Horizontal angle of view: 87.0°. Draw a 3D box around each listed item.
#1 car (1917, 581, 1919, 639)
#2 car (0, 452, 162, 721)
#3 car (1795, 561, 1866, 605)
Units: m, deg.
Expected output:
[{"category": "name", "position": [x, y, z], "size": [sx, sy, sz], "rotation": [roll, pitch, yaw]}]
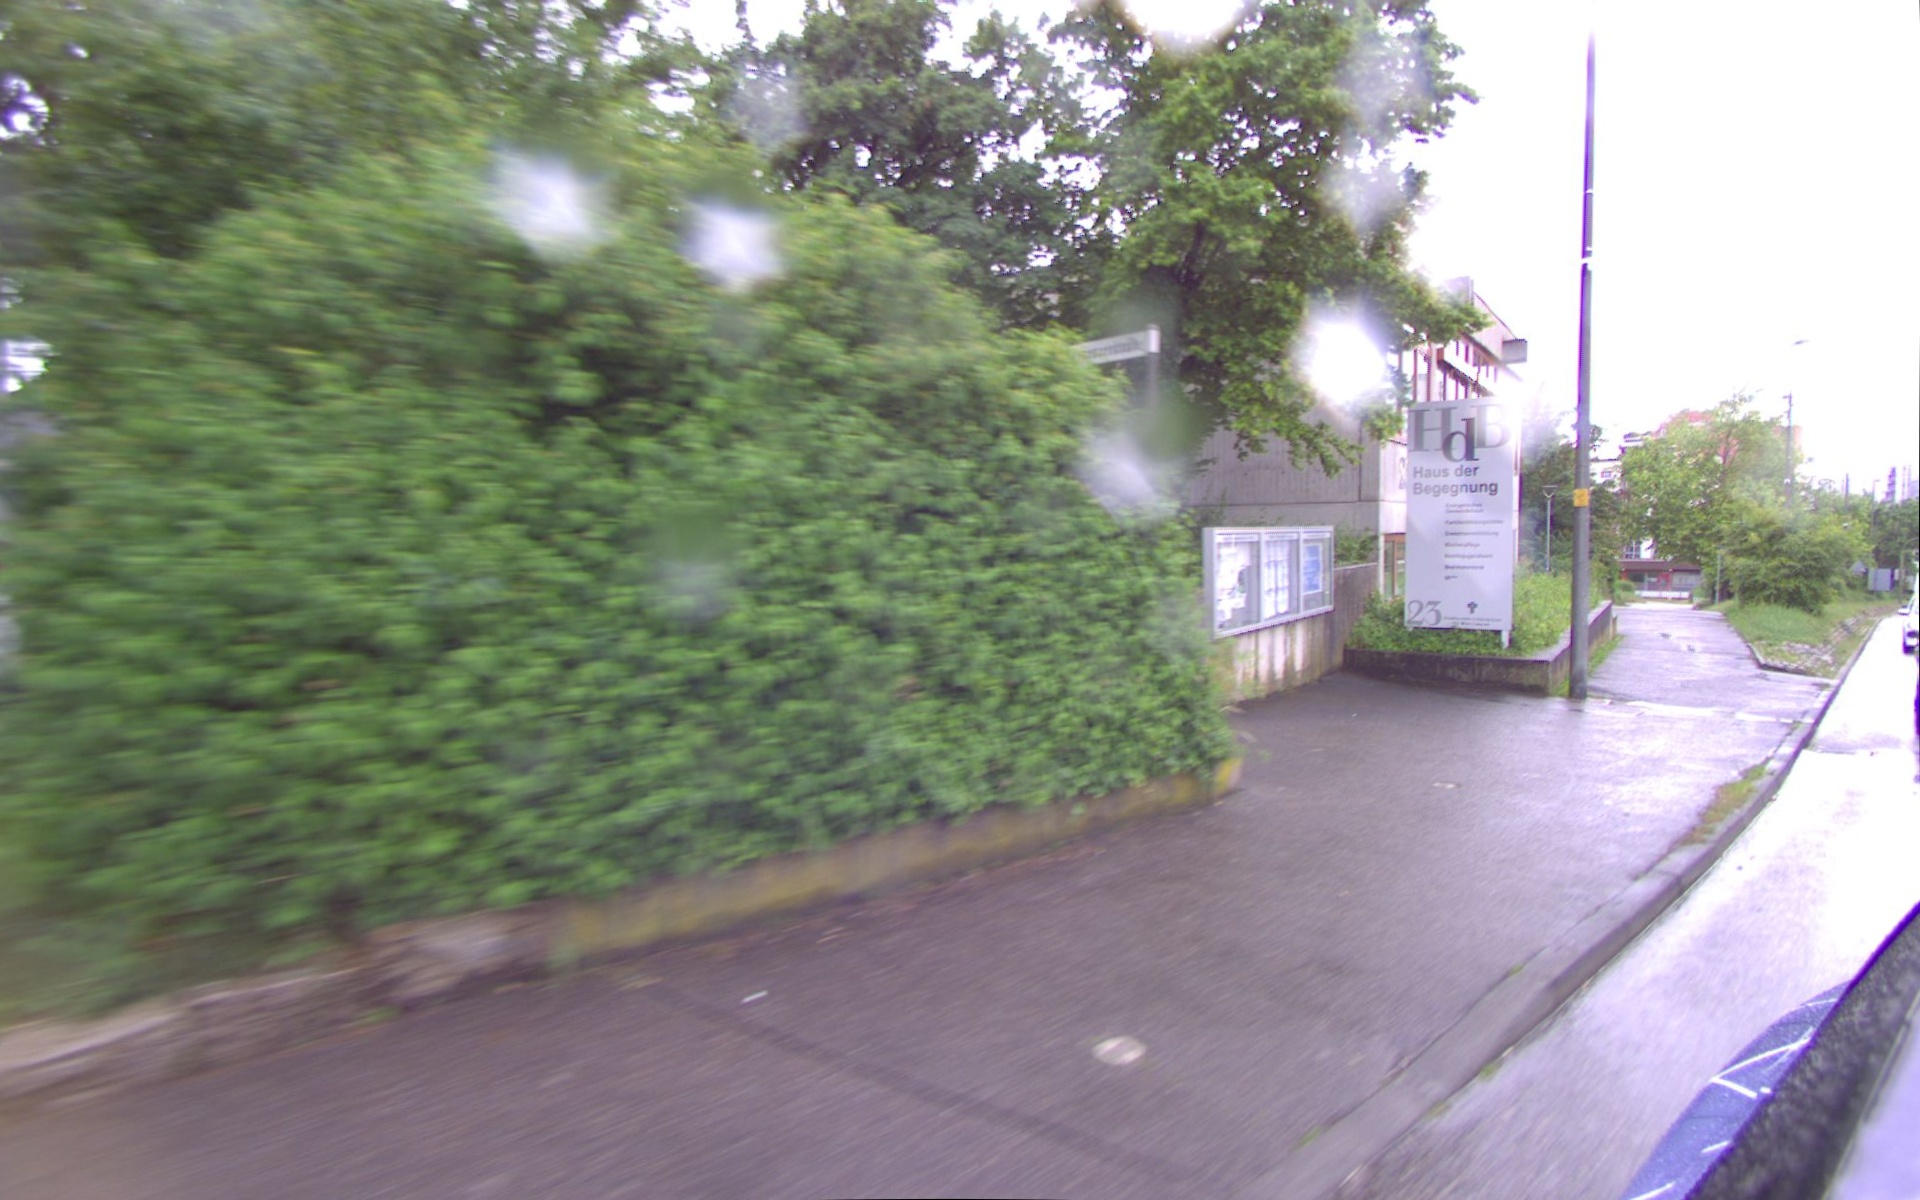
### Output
[{"category": "car", "position": [27.227, 0.329, 27.270], "size": [1.894, 1.680, 4.871], "rotation": [-3, 0, 42]}, {"category": "car", "position": [-6.680, -0.208, 6.748], "size": [1.603, 1.471, 3.584], "rotation": [-1, 5, -30]}, {"category": "car", "position": [38.167, -0.766, 44.358], "size": [3.903, 1.842, 2.044], "rotation": [-1, 2, -44]}]
